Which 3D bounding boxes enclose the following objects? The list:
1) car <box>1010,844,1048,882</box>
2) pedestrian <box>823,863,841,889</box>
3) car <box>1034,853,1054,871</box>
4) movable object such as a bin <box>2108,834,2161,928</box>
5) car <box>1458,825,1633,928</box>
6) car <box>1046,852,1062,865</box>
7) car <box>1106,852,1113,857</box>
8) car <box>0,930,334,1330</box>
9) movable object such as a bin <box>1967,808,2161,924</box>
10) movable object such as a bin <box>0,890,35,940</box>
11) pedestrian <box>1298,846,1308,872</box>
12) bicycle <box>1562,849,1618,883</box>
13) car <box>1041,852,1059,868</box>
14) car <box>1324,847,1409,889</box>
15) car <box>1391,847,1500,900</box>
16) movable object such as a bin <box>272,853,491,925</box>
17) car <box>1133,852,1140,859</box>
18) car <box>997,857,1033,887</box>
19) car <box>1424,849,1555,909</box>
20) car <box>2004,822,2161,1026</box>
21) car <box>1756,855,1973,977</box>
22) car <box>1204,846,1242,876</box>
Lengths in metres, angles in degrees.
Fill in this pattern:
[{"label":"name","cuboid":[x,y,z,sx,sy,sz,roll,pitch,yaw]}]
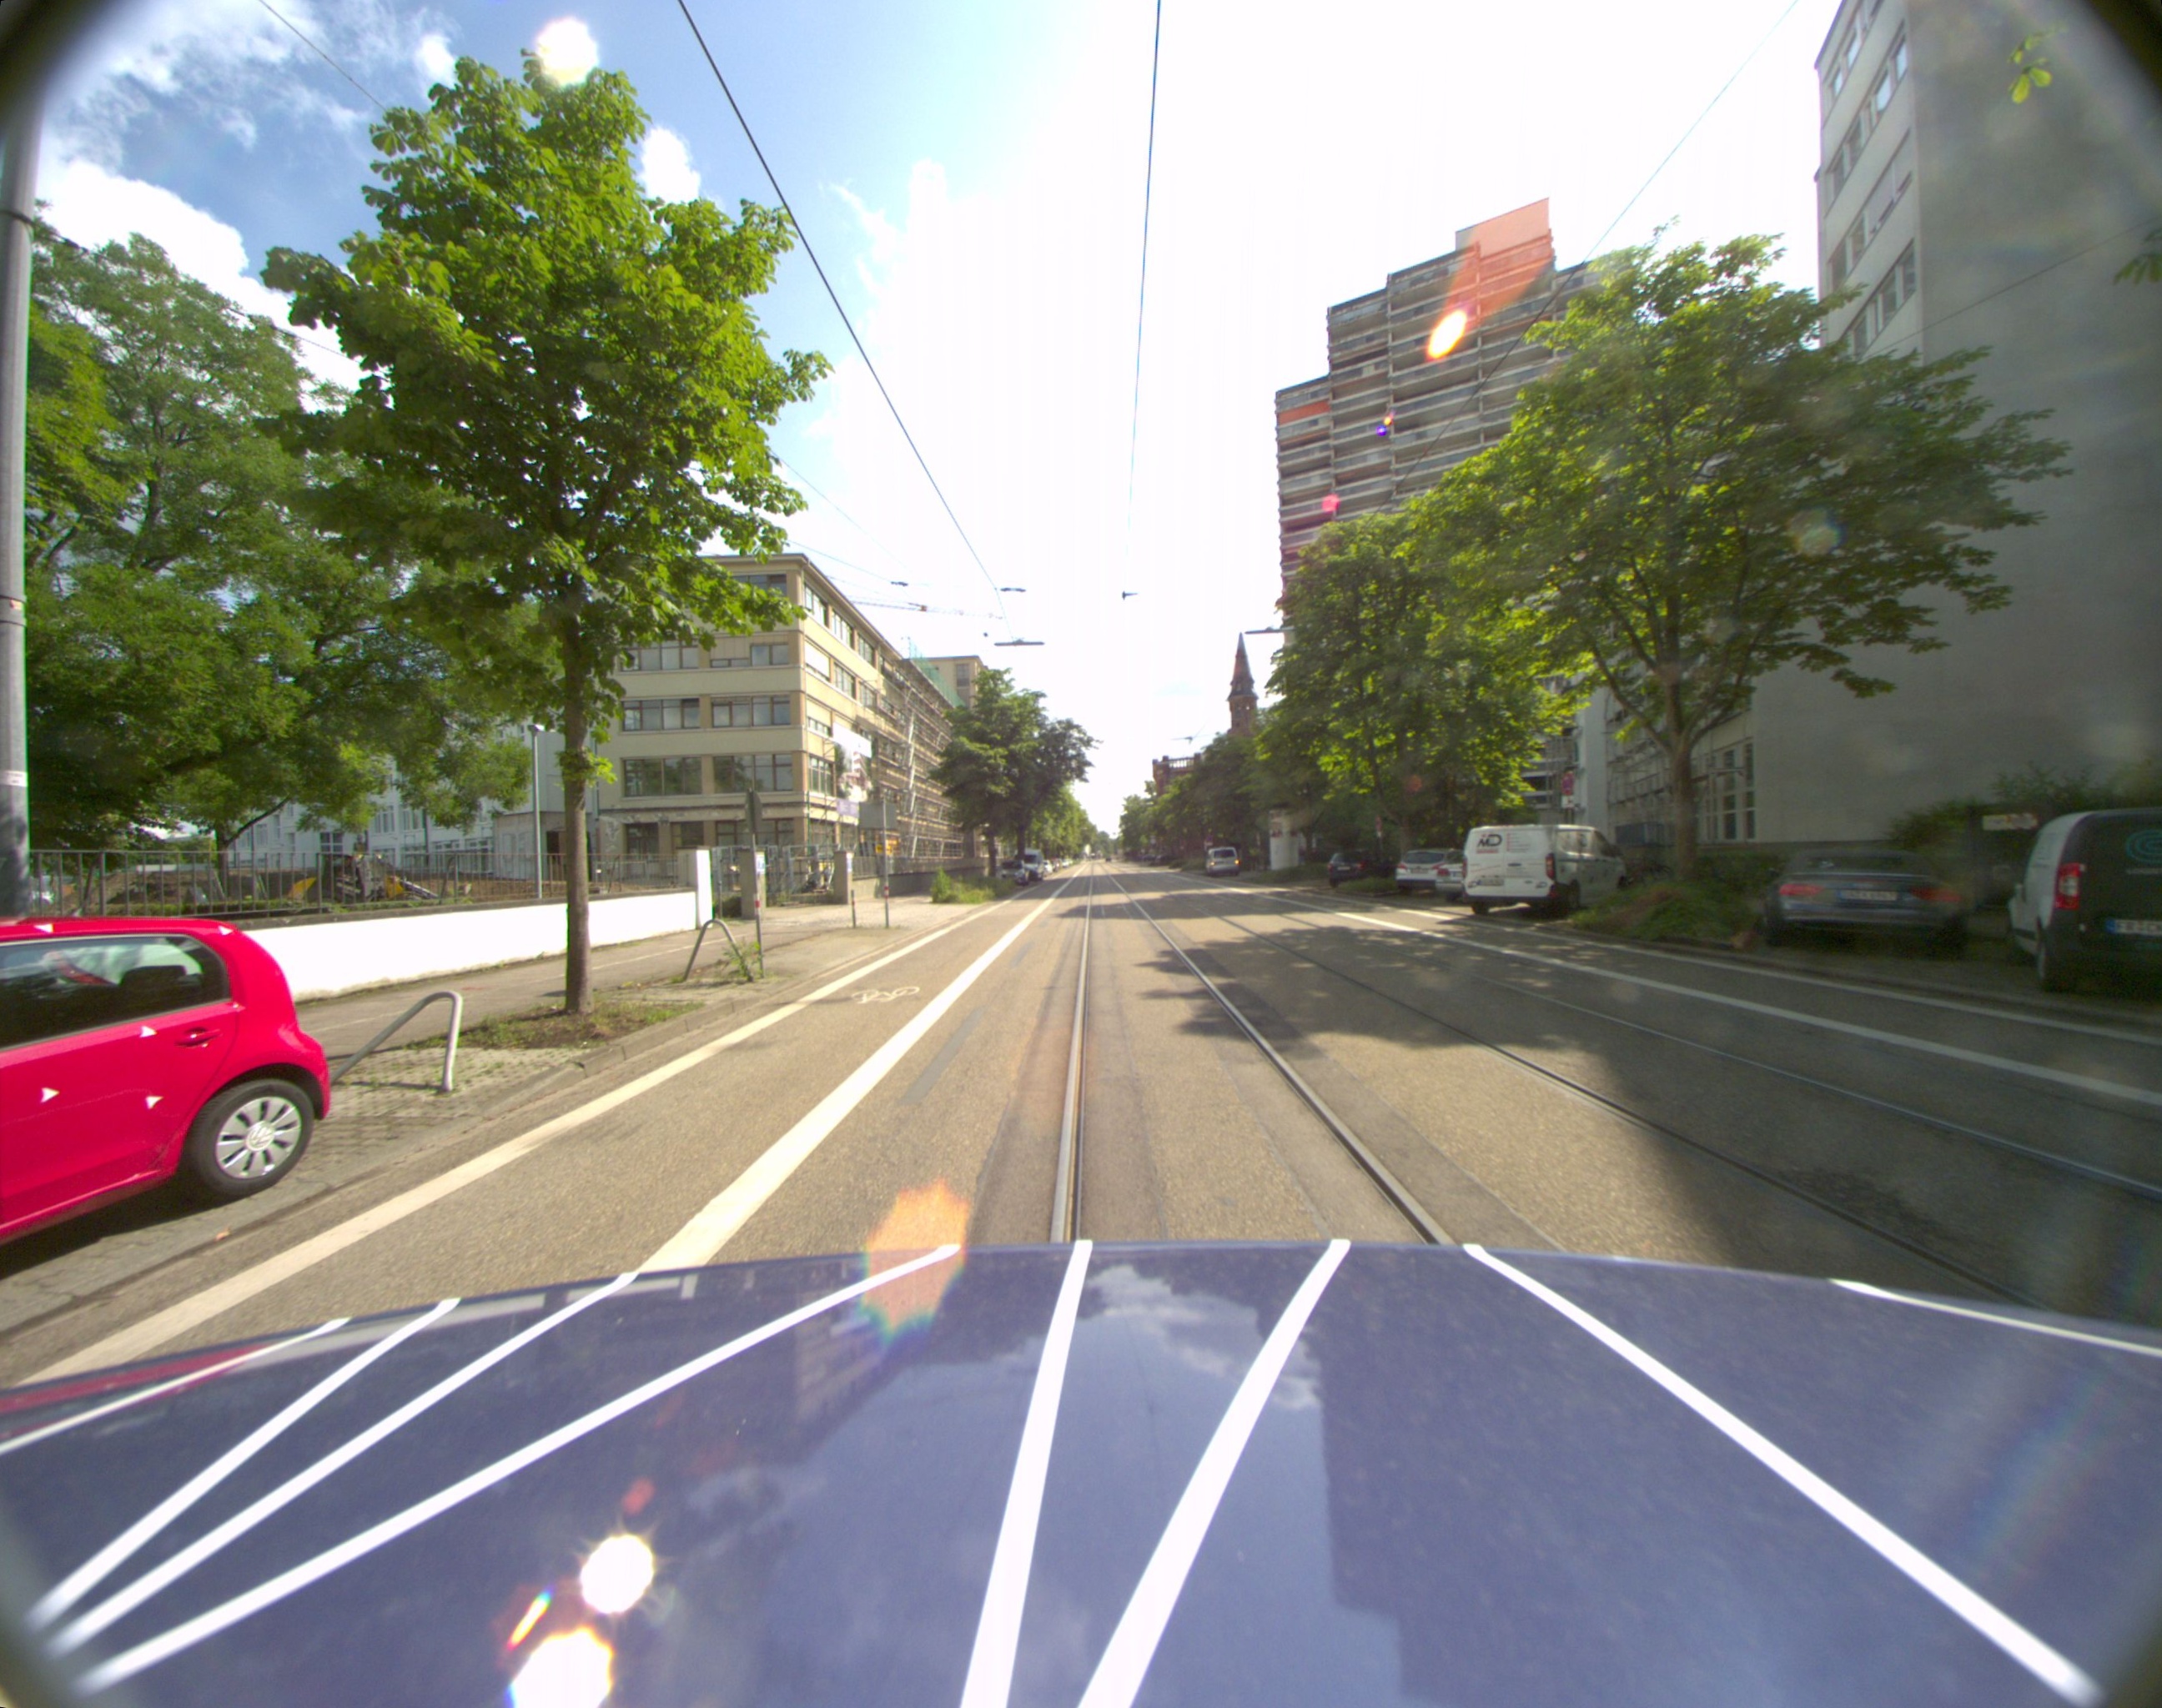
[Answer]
[{"label":"car","cuboid":[-3.932,0.647,58.156,2.337,2.545,5.389,-5,1,0]},{"label":"pedestrian","cuboid":[-13.138,1.182,40.062,0.634,1.306,0.463,-3,3,13]},{"label":"car","cuboid":[-3.775,0.796,77.882,1.750,1.597,4.236,-5,1,0]},{"label":"movable object such as a bin","cuboid":[16.329,0.411,10.784,1.391,1.356,1.538,1,1,-3]},{"label":"car","cuboid":[10.472,0.404,16.980,4.695,1.985,1.963,-2,0,-41]},{"label":"car","cuboid":[-3.504,0.571,98.961,1.750,1.597,4.236,-5,1,0]},{"label":"car","cuboid":[8.684,0.137,232.614,1.892,1.634,4.236,-2,0,-1]},{"label":"car","cuboid":[-5.037,1.175,2.460,1.604,1.420,3.596,-2,1,1]},{"label":"movable object such as a bin","cuboid":[16.308,0.184,12.598,1.391,1.771,1.538,1,1,-3]},{"label":"movable object such as a bin","cuboid":[-30.481,1.707,21.183,1.326,1.349,1.127,-1,0,-43]},{"label":"pedestrian","cuboid":[15.698,0.367,53.797,0.524,1.745,0.635,-4,3,7]},{"label":"bicycle","cuboid":[18.225,0.434,27.233,1.577,1.155,0.543,-2,-2,25]},{"label":"car","cuboid":[-3.595,0.692,88.529,1.750,1.597,4.236,-5,1,0]},{"label":"car","cuboid":[11.584,0.553,30.735,1.738,1.514,3.893,-2,0,45]},{"label":"car","cuboid":[11.690,0.575,24.223,4.201,1.492,1.817,-2,0,-45]},{"label":"movable object such as a bin","cuboid":[-24.915,1.219,27.399,5.440,2.429,1.996,0,-2,-25]},{"label":"car","cuboid":[13.711,0.417,188.104,1.628,1.565,3.952,1,1,1]},{"label":"car","cuboid":[-4.082,1.094,47.859,1.750,1.597,4.236,-5,1,0]},{"label":"car","cuboid":[11.428,0.639,21.146,4.179,1.441,1.817,-2,0,-41]},{"label":"car","cuboid":[10.456,0.585,7.333,3.723,1.683,1.755,0,1,-42]},{"label":"car","cuboid":[10.970,0.724,10.927,1.717,1.409,4.009,1,0,40]},{"label":"car","cuboid":[9.755,0.446,52.453,1.892,1.840,4.236,-5,1,2]}]
